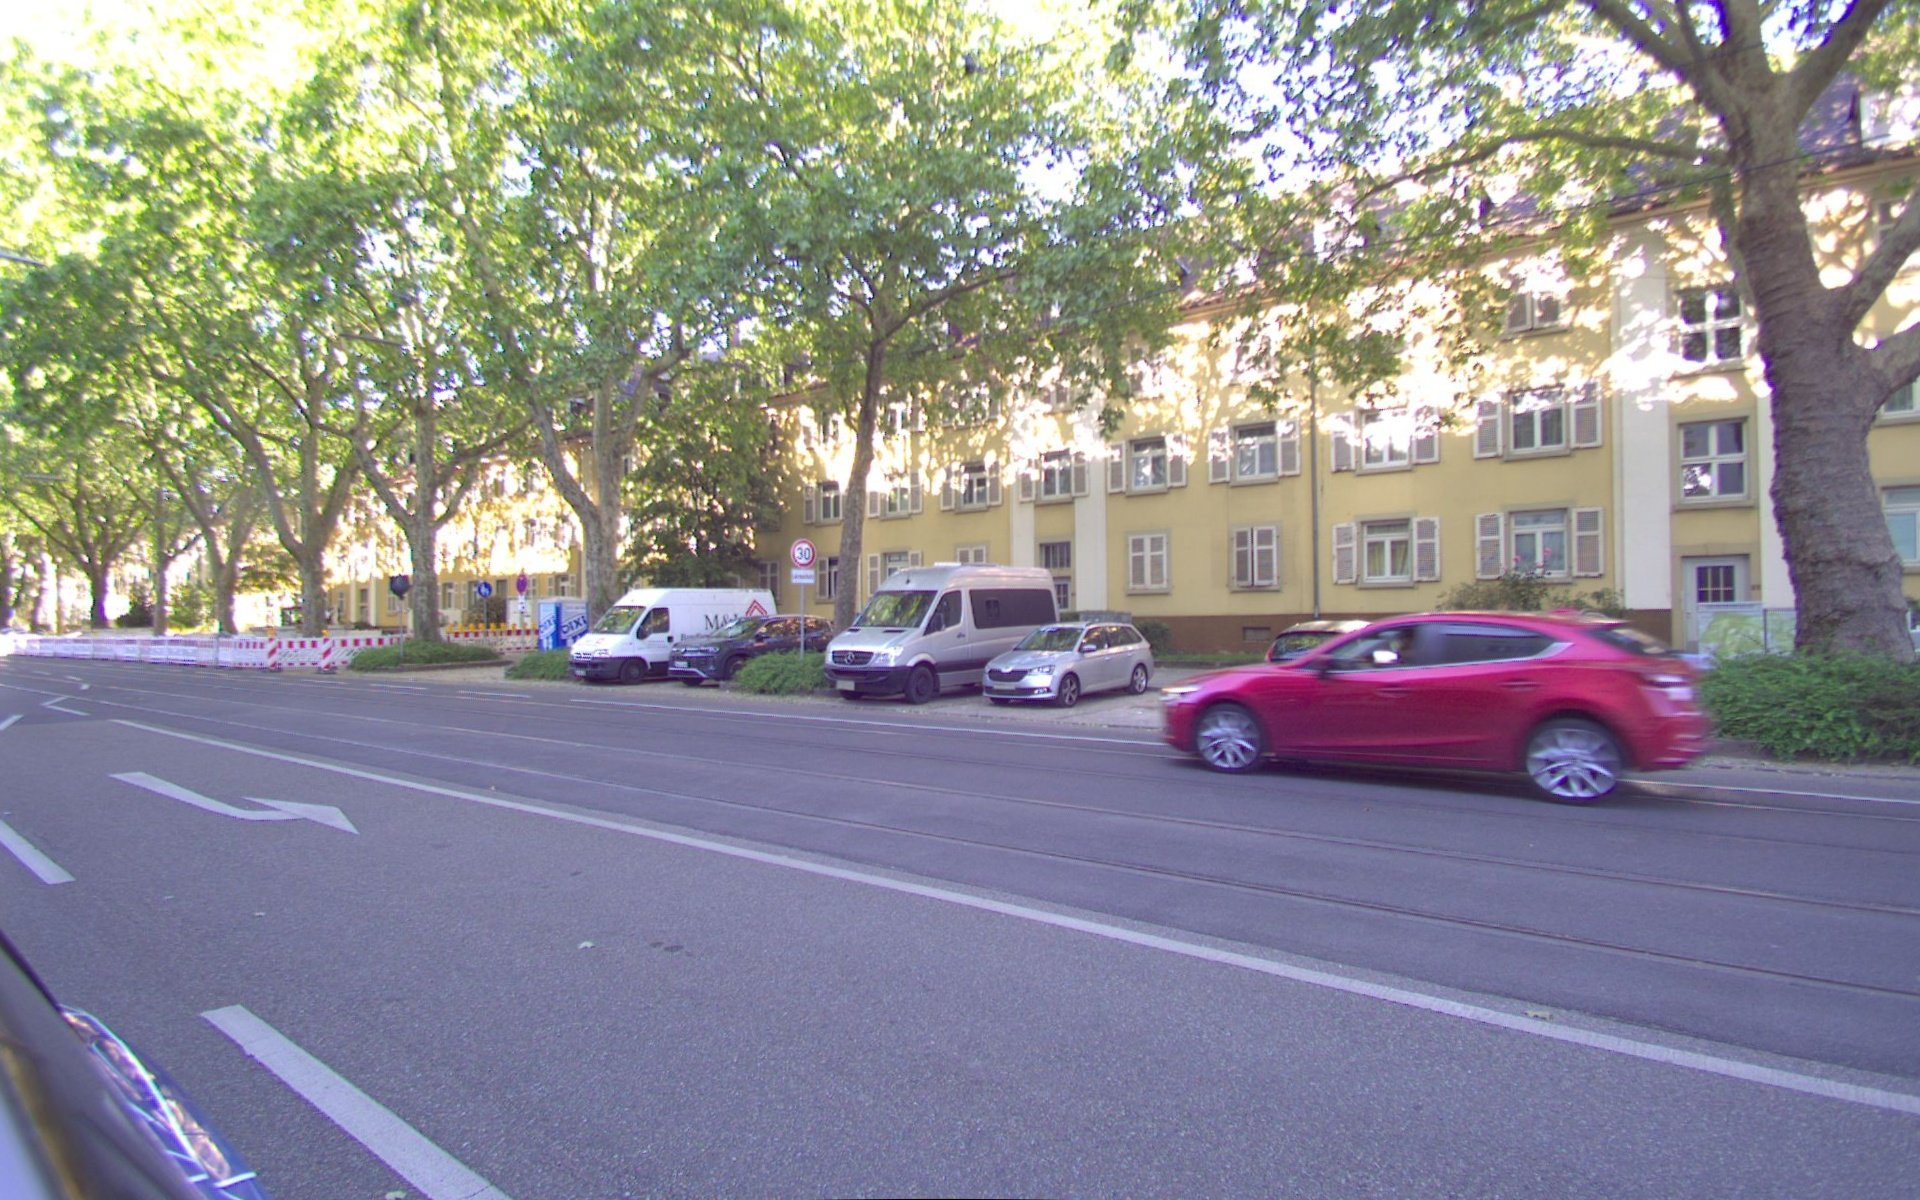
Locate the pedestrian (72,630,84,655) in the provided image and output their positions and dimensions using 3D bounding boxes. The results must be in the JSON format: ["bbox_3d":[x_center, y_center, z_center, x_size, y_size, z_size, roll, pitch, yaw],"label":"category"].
[{"bbox_3d":[-70.607,3.396,80.995,0.722,1.900,0.666,-1,0,-42],"label":"pedestrian"}]

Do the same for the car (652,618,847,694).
[{"bbox_3d":[-4.977,1.280,24.443,1.772,1.664,4.570,-2,-2,38],"label":"car"}]

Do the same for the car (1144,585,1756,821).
[{"bbox_3d":[4.114,0.753,8.939,4.484,1.577,1.997,-2,-2,37],"label":"car"}]

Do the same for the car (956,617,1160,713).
[{"bbox_3d":[1.914,1.125,18.831,1.773,1.509,4.031,-2,-1,41],"label":"car"}]

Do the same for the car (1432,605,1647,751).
[{"bbox_3d":[7.745,0.902,13.363,1.672,1.592,3.928,-2,-1,41],"label":"car"}]

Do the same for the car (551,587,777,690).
[{"bbox_3d":[-7.560,0.968,26.369,2.222,2.394,5.336,-2,-2,40],"label":"car"}]

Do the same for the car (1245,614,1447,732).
[{"bbox_3d":[5.968,1.005,15.414,1.671,1.509,3.756,-2,-1,41],"label":"car"}]

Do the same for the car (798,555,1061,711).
[{"bbox_3d":[-0.425,0.612,20.442,2.221,2.702,5.596,-2,-1,38],"label":"car"}]

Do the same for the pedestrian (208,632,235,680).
[{"bbox_3d":[-28.142,2.131,38.571,0.581,1.759,0.645,-1,0,32],"label":"pedestrian"}]
